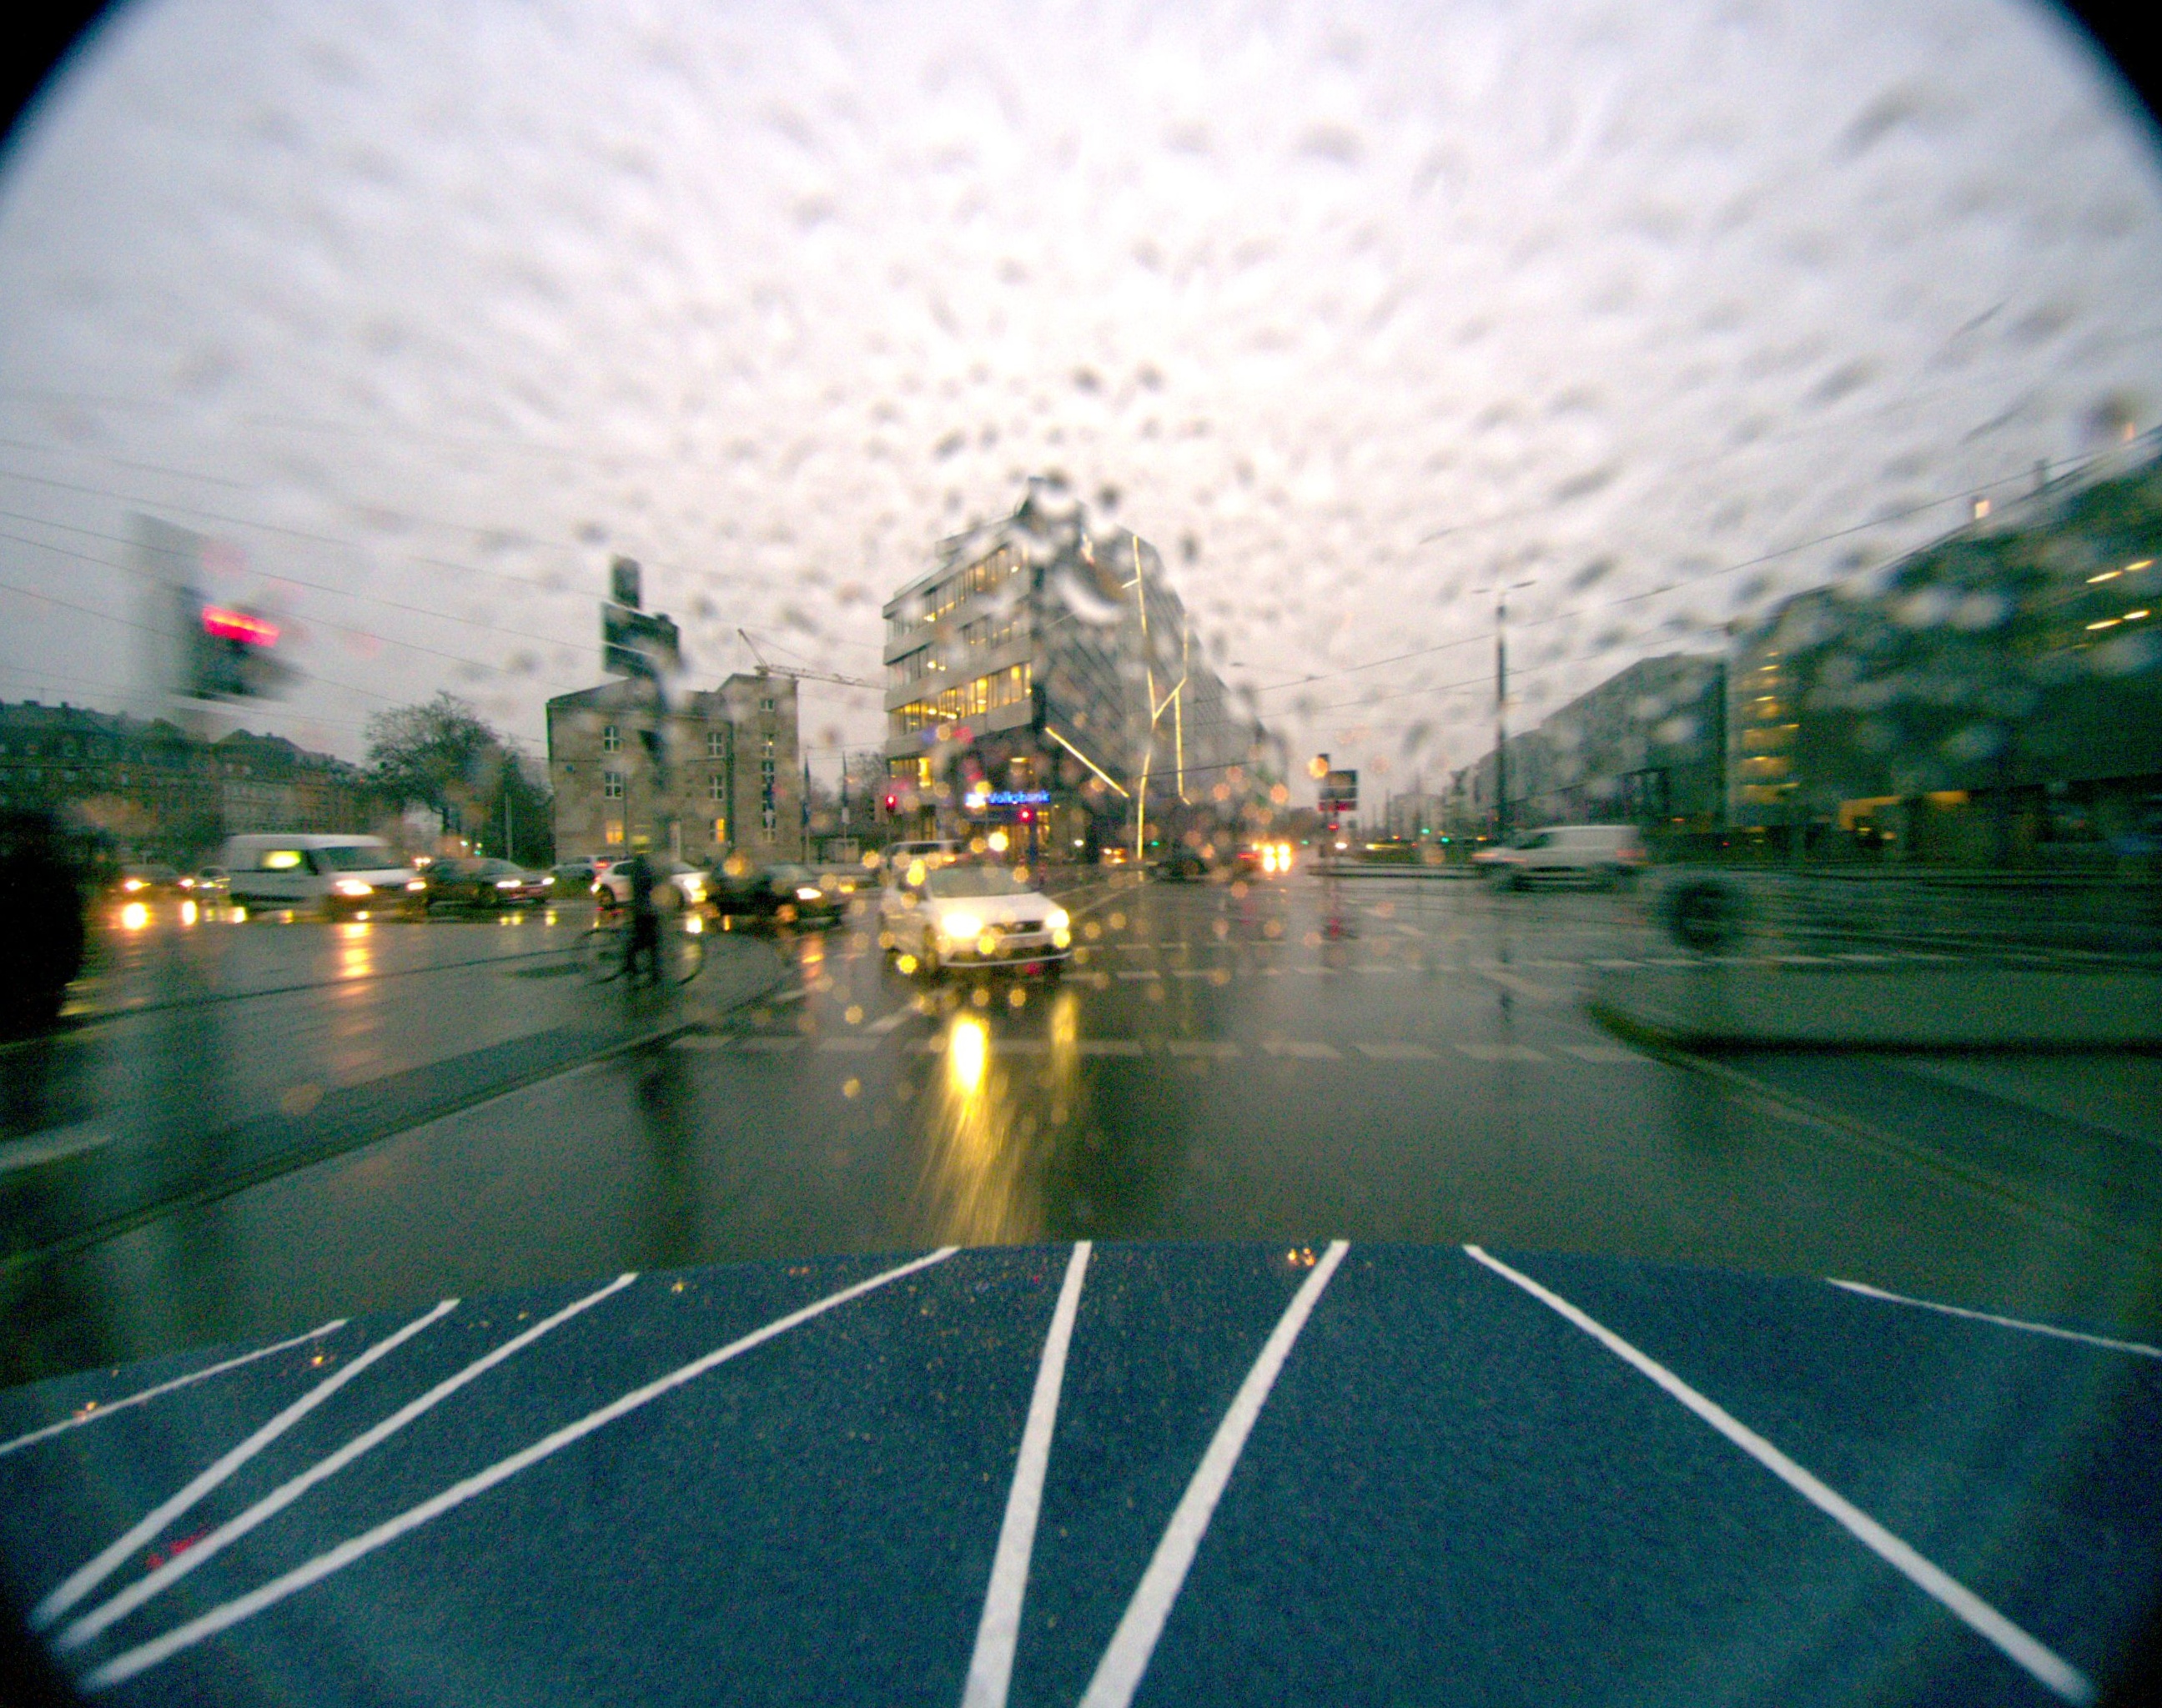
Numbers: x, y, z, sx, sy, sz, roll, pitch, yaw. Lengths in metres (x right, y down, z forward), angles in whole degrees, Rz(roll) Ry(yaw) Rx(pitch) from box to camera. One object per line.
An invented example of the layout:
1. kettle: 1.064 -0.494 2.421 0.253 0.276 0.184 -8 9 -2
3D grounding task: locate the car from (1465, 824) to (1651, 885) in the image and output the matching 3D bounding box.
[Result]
1. car: 14.747 0.002 23.648 4.596 1.709 1.933 0 1 44

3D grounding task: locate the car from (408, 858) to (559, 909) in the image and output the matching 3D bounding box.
1. car: -19.957 0.939 25.394 4.352 1.561 1.829 -1 1 19

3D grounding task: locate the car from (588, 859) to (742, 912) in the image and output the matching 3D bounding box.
1. car: -12.674 0.936 23.218 3.910 1.455 1.765 -1 3 15

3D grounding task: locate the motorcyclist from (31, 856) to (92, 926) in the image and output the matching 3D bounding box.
1. motorcyclist: -28.537 1.014 21.274 0.919 1.871 0.888 0 2 33

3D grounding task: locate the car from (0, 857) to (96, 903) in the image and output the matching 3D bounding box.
1. car: -40.036 0.959 29.179 3.996 1.590 1.906 0 1 26

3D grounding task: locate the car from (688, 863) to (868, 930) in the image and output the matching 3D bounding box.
1. car: -7.142 0.936 17.899 3.812 1.380 1.727 0 2 24

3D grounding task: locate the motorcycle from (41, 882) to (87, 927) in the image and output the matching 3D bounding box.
1. motorcycle: -28.585 1.399 21.345 2.403 1.176 0.485 0 2 31

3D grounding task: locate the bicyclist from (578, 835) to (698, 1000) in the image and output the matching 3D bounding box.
1. bicyclist: -5.350 0.721 9.200 0.986 1.880 0.794 0 2 26

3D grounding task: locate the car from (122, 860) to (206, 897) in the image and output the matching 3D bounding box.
1. car: -39.710 1.029 32.889 4.159 1.466 1.881 -1 2 34

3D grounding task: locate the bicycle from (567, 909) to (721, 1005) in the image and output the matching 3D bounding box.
1. bicycle: -5.269 1.199 9.145 1.861 0.968 0.658 0 1 26

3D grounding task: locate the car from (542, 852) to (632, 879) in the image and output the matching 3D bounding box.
1. car: -28.087 0.635 43.230 4.332 1.477 1.868 -1 1 17

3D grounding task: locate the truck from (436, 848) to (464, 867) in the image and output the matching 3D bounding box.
1. truck: -69.273 0.364 83.434 1.841 2.033 3.989 -2 1 -33

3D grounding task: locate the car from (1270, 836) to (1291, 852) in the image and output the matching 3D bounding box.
1. car: 21.062 -1.078 80.223 1.830 1.652 4.005 -1 1 19

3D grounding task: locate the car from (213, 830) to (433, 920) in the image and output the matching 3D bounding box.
1. car: -22.514 0.548 22.589 5.657 2.449 2.246 0 2 19

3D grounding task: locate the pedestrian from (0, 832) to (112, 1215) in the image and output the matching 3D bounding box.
1. pedestrian: -5.558 0.829 3.827 0.633 1.867 0.777 0 2 38

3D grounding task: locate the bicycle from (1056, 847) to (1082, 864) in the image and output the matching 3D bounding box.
1. bicycle: -0.784 0.105 50.138 1.597 1.064 0.643 -1 1 20

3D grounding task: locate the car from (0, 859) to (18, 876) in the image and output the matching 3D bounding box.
1. car: -93.977 1.168 65.142 1.378 1.405 3.193 0 1 34

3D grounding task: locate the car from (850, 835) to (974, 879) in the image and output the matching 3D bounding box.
1. car: -8.217 0.140 37.034 5.649 2.047 1.955 -1 1 17

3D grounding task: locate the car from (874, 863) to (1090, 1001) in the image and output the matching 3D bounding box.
1. car: -1.614 0.900 10.752 1.791 1.371 4.214 -3 2 -25

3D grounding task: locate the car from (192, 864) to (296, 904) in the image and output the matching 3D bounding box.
1. car: -32.768 1.144 29.757 3.338 1.423 1.693 0 2 23

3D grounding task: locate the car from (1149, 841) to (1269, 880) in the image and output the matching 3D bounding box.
1. car: 5.060 0.257 30.288 4.411 1.436 1.632 0 1 36
